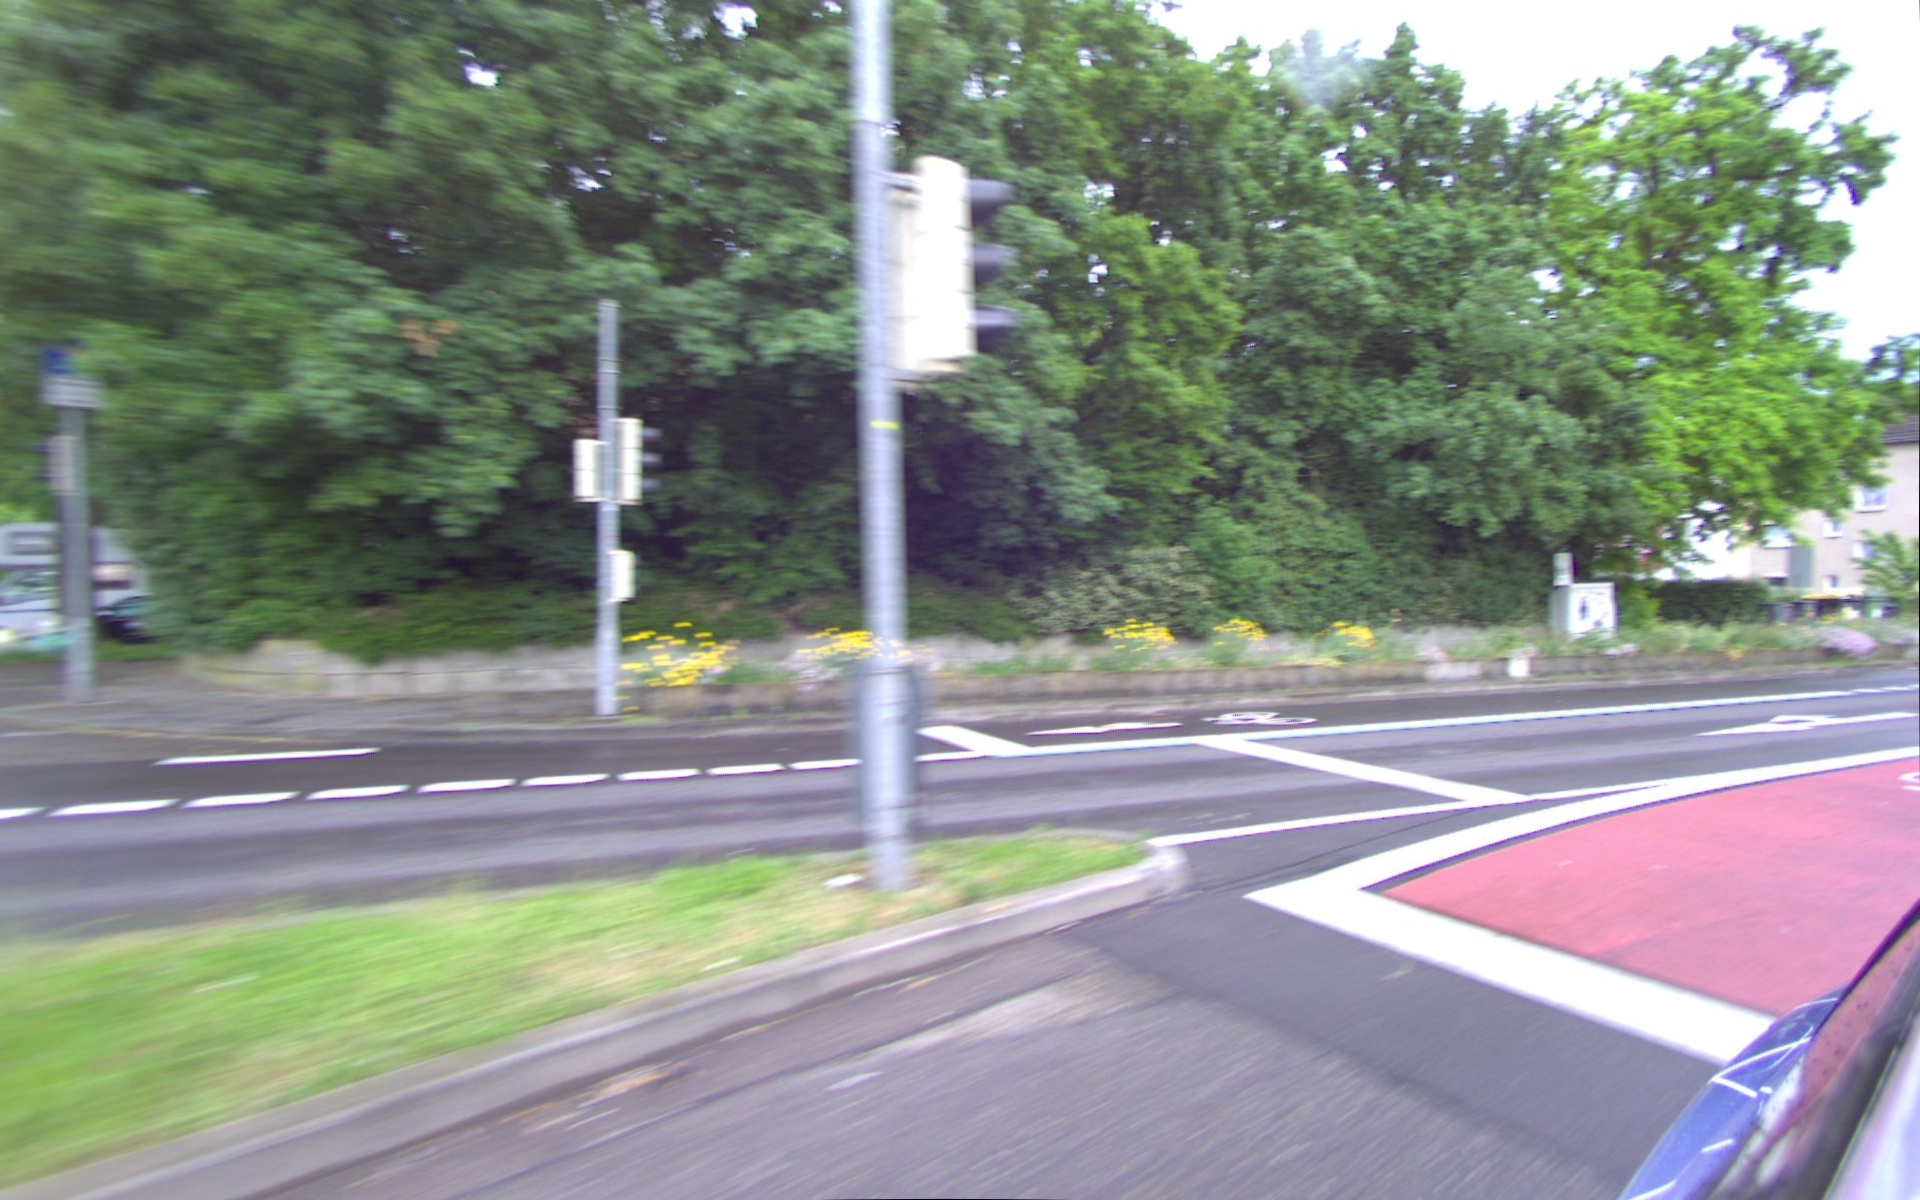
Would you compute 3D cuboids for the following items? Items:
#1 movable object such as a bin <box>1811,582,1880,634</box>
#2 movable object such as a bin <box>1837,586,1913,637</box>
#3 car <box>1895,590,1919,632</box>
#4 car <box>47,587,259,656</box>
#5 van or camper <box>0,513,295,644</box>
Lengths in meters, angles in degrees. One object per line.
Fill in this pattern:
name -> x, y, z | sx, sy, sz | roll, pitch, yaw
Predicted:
movable object such as a bin -> 25.958, 0.221, 29.685 | 1.112, 1.435, 1.189 | -2, 1, -29
movable object such as a bin -> 27.568, 0.337, 30.504 | 1.274, 1.435, 1.317 | -2, 1, -29
car -> 40.681, 0.409, 40.532 | 1.841, 1.676, 4.294 | -3, -1, -23
car -> -17.248, 0.418, 21.841 | 3.405, 1.371, 1.679 | 0, 1, -33
van or camper -> -19.393, -0.484, 23.660 | 6.303, 2.789, 2.433 | 0, 1, -31
